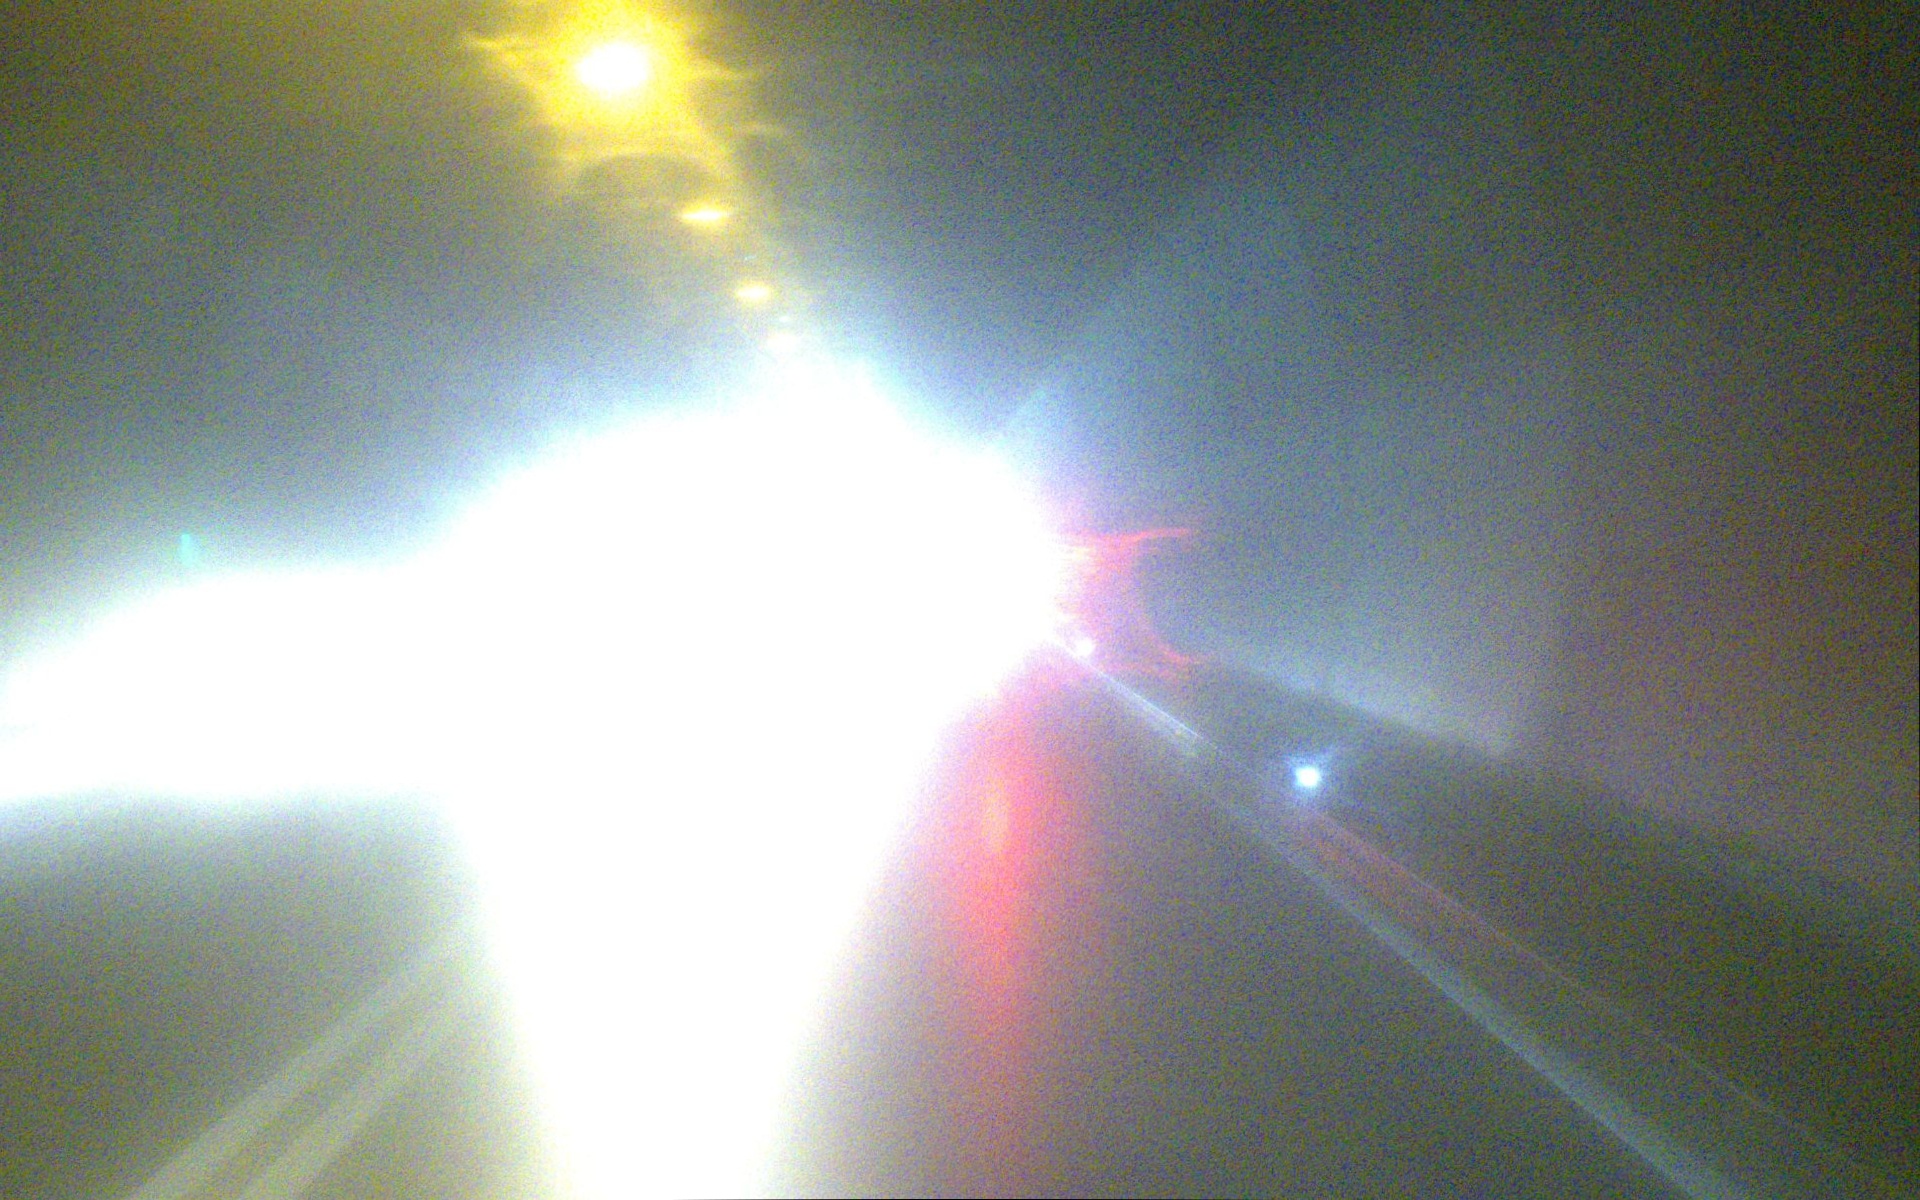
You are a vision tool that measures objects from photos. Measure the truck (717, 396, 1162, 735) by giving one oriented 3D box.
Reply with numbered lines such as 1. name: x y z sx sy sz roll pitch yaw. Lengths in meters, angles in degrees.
1. truck: -0.214 -0.340 31.824 3.535 2.684 8.956 0 1 -1

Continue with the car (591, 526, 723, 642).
1. car: -4.384 -0.249 50.158 1.598 1.608 3.996 0 1 0
